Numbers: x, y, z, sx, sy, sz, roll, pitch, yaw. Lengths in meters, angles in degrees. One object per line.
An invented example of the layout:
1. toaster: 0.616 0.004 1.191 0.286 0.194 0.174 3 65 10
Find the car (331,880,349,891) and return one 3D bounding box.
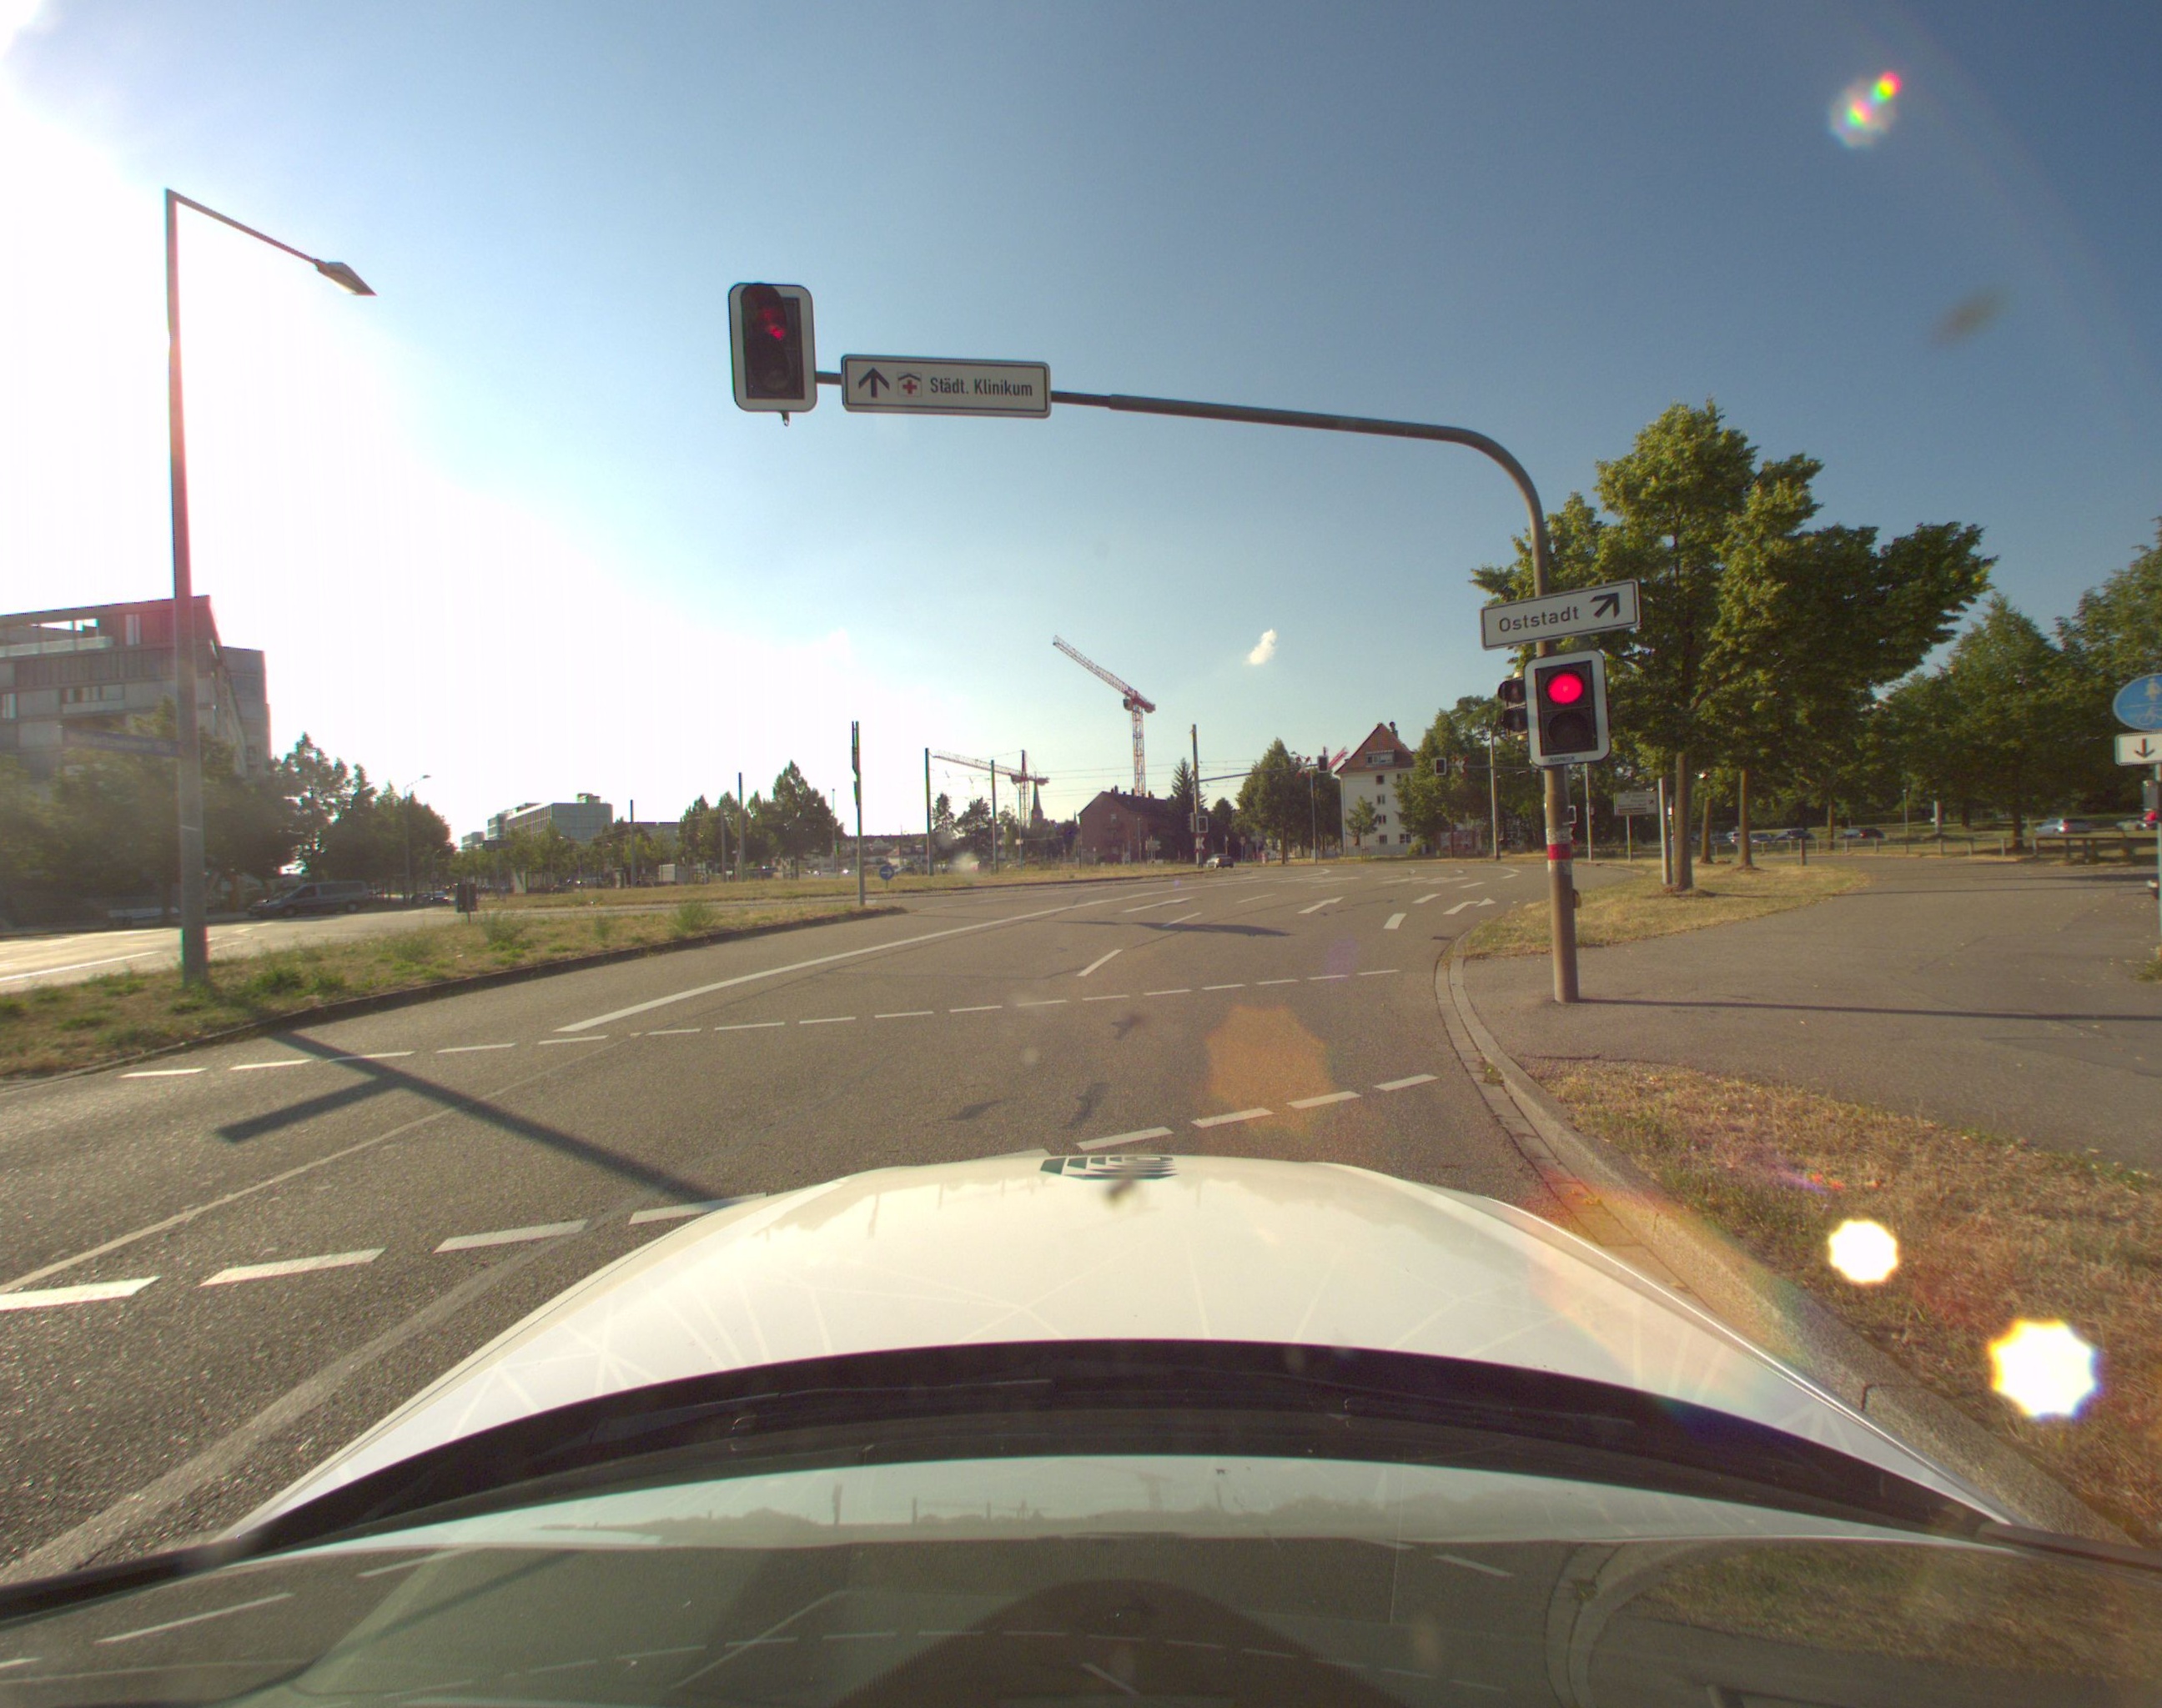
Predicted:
1. car: -110.434 4.716 121.391 1.800 1.556 3.950 0 -1 -45

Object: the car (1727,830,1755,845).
1. car: 67.188 -1.669 82.952 1.586 1.402 3.993 -3 -1 30

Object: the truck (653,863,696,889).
1. truck: -55.572 3.014 111.290 3.156 3.231 7.085 -2 0 -44

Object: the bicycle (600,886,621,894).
1. bicycle: -47.014 3.570 81.308 1.731 0.744 0.475 -2 0 -41

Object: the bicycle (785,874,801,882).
1. bicycle: -33.318 2.817 94.156 1.622 0.860 0.541 -2 0 -24

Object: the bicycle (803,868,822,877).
1. bicycle: -30.455 2.126 92.406 1.983 0.918 0.429 -2 0 -4

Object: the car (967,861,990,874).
1. car: -14.691 1.962 116.832 1.930 1.854 3.964 -2 0 -28

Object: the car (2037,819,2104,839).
1. car: 78.211 -1.954 64.449 1.804 1.403 4.023 -3 -1 26

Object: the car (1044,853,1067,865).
1. car: -4.682 0.986 149.933 3.776 2.014 1.680 -3 -1 20

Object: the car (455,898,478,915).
1. car: -58.537 4.962 77.582 1.493 1.475 3.260 -2 0 -42

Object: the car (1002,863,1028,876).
1. car: -10.710 2.549 132.796 3.776 2.014 1.680 -3 -1 20

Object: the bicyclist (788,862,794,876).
1. bicyclist: -33.227 1.724 93.188 0.609 1.672 0.474 -2 -1 -22

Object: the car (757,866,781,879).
1. car: -52.875 3.191 138.029 3.948 2.013 2.013 -3 0 36

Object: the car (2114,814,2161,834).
1. car: 82.720 -2.306 63.020 1.804 1.403 4.023 -3 -1 26

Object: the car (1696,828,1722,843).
1. car: 64.627 -1.851 83.822 1.586 1.402 3.993 -3 -1 30

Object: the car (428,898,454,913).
1. car: -70.770 5.678 90.023 2.011 1.475 3.952 -2 0 -42

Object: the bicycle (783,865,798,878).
1. bicycle: -33.241 1.982 93.151 1.546 1.473 0.476 -2 0 -24

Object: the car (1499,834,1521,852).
1. car: 42.811 -1.100 81.253 1.754 1.618 3.993 -3 -1 30

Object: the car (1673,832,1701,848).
1. car: 56.220 -1.257 75.640 1.586 1.402 3.993 -3 -1 30

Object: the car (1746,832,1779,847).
1. car: 60.917 -1.272 72.868 1.586 1.221 3.993 -3 -1 30

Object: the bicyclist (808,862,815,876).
1. bicyclist: -30.585 1.726 92.400 0.621 1.511 0.418 -2 0 -4

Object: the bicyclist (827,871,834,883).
1. bicyclist: -29.376 2.722 95.461 0.654 1.325 0.515 -2 0 -19

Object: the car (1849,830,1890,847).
1. car: 67.178 -1.275 69.425 1.586 1.310 3.993 -3 -1 30

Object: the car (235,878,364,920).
1. car: -44.155 2.477 46.163 1.977 2.013 4.844 -3 0 19

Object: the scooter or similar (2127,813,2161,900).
1. scooter or similar: 15.406 0.008 11.525 1.172 1.160 0.340 -4 -3 -23

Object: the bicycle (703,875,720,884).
1. bicycle: -39.243 2.744 86.553 1.622 0.860 0.541 -2 0 -24

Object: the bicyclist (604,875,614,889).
1. bicyclist: -47.109 2.776 81.270 0.658 1.325 0.512 -2 0 -42

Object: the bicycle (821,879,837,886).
1. bicycle: -29.513 3.293 95.393 1.721 0.744 0.477 -2 0 -20

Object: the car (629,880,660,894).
1. car: -44.407 3.311 82.860 2.685 1.261 1.102 -2 0 -34

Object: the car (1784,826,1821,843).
1. car: 63.294 -1.671 71.470 1.586 1.402 3.993 -3 -1 30

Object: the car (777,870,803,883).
1. car: -47.197 3.687 131.891 3.948 2.013 2.013 -3 0 36

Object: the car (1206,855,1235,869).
1. car: 13.661 0.789 79.875 1.458 1.300 3.530 -2 0 -15
